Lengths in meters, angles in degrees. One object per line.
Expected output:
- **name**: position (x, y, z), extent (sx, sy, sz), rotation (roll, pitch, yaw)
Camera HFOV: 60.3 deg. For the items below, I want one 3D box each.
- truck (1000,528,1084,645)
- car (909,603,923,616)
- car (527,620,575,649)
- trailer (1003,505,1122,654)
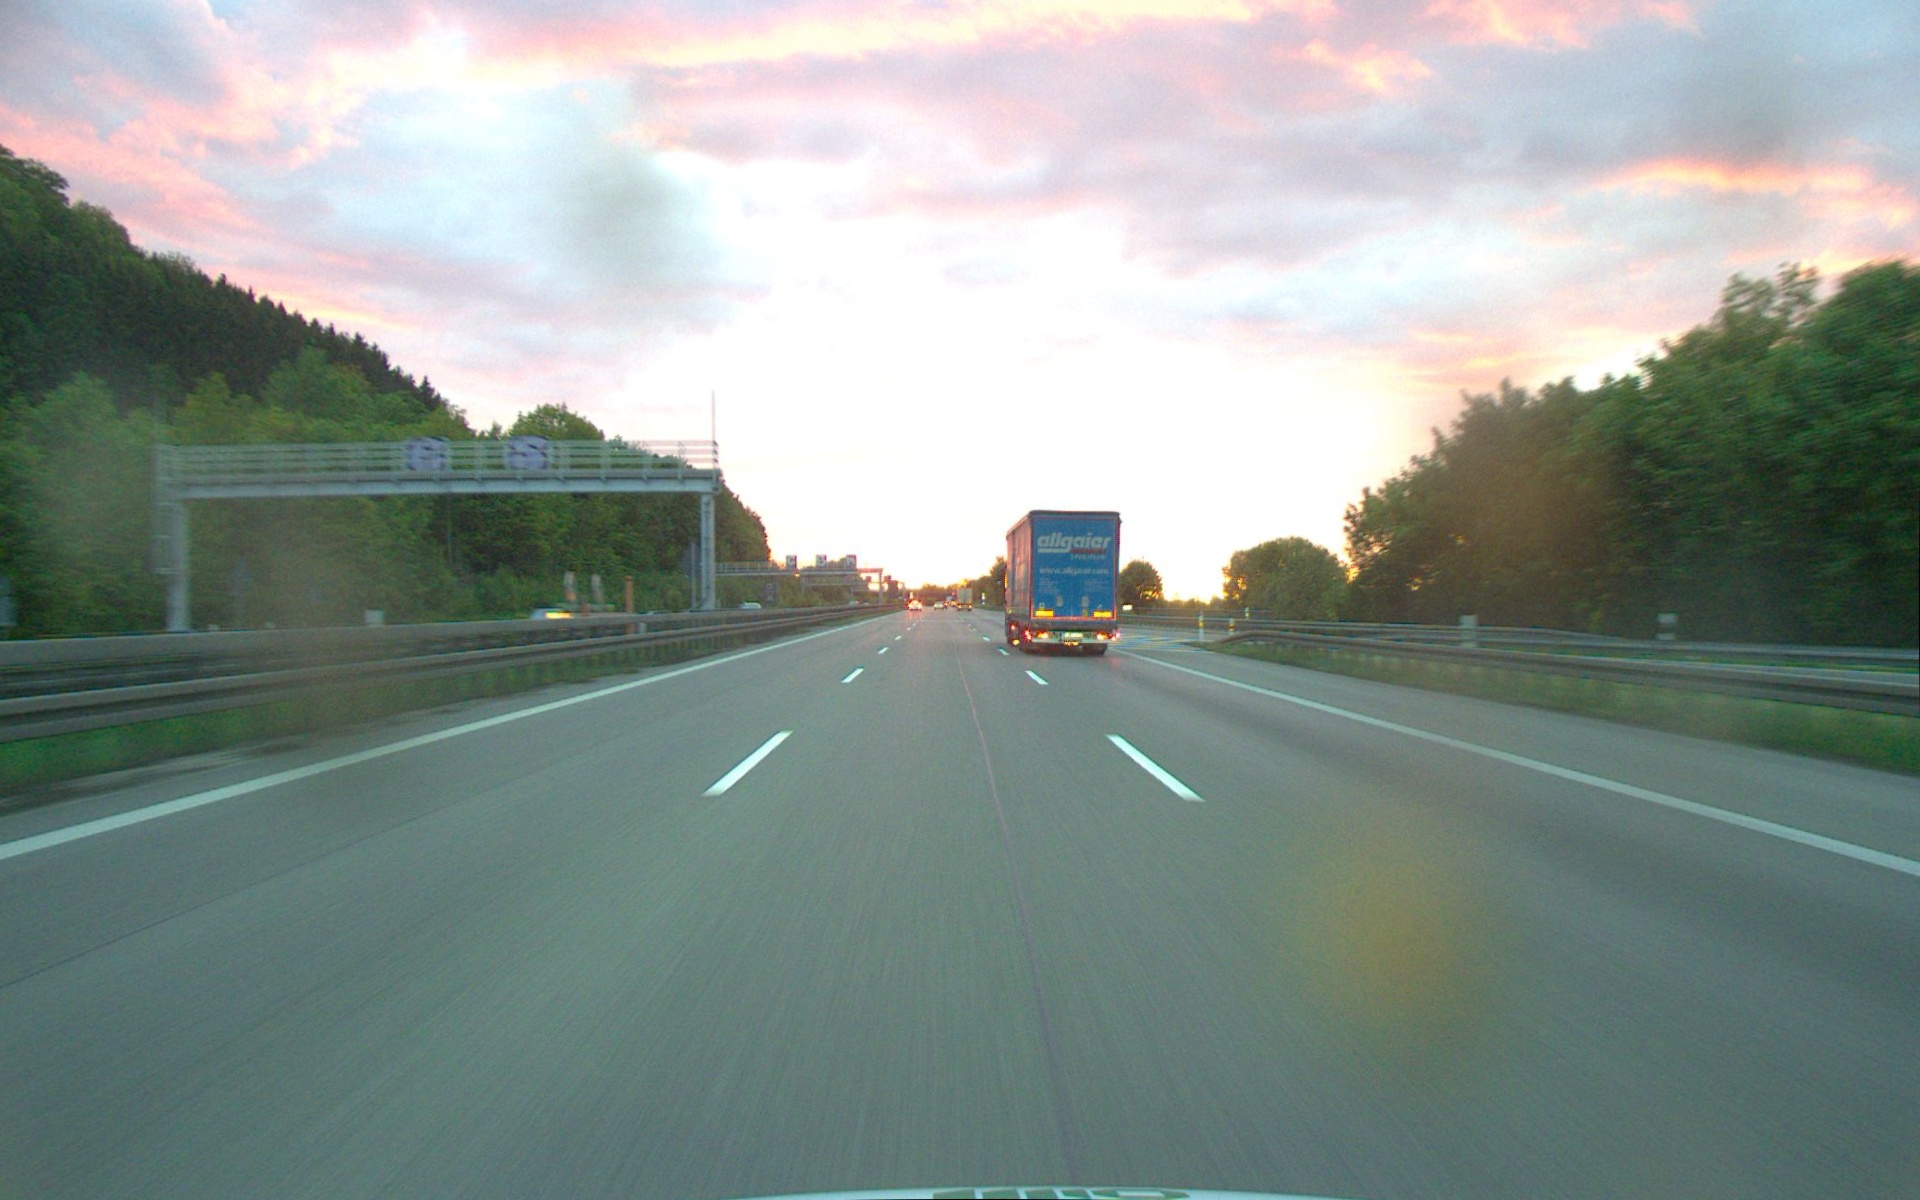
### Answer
- **truck**: position (2.933, -0.454, 60.665), extent (2.681, 4.066, 5.848), rotation (1, 0, -1)
- **car**: position (-6.492, 1.375, 246.446), extent (1.972, 1.780, 3.902), rotation (-3, 0, -1)
- **car**: position (-20.831, 1.742, 84.308), extent (1.608, 1.446, 3.535), rotation (0, 0, -1)
- **trailer**: position (3.050, -0.552, 53.308), extent (2.715, 4.158, 13.736), rotation (1, 0, -1)
